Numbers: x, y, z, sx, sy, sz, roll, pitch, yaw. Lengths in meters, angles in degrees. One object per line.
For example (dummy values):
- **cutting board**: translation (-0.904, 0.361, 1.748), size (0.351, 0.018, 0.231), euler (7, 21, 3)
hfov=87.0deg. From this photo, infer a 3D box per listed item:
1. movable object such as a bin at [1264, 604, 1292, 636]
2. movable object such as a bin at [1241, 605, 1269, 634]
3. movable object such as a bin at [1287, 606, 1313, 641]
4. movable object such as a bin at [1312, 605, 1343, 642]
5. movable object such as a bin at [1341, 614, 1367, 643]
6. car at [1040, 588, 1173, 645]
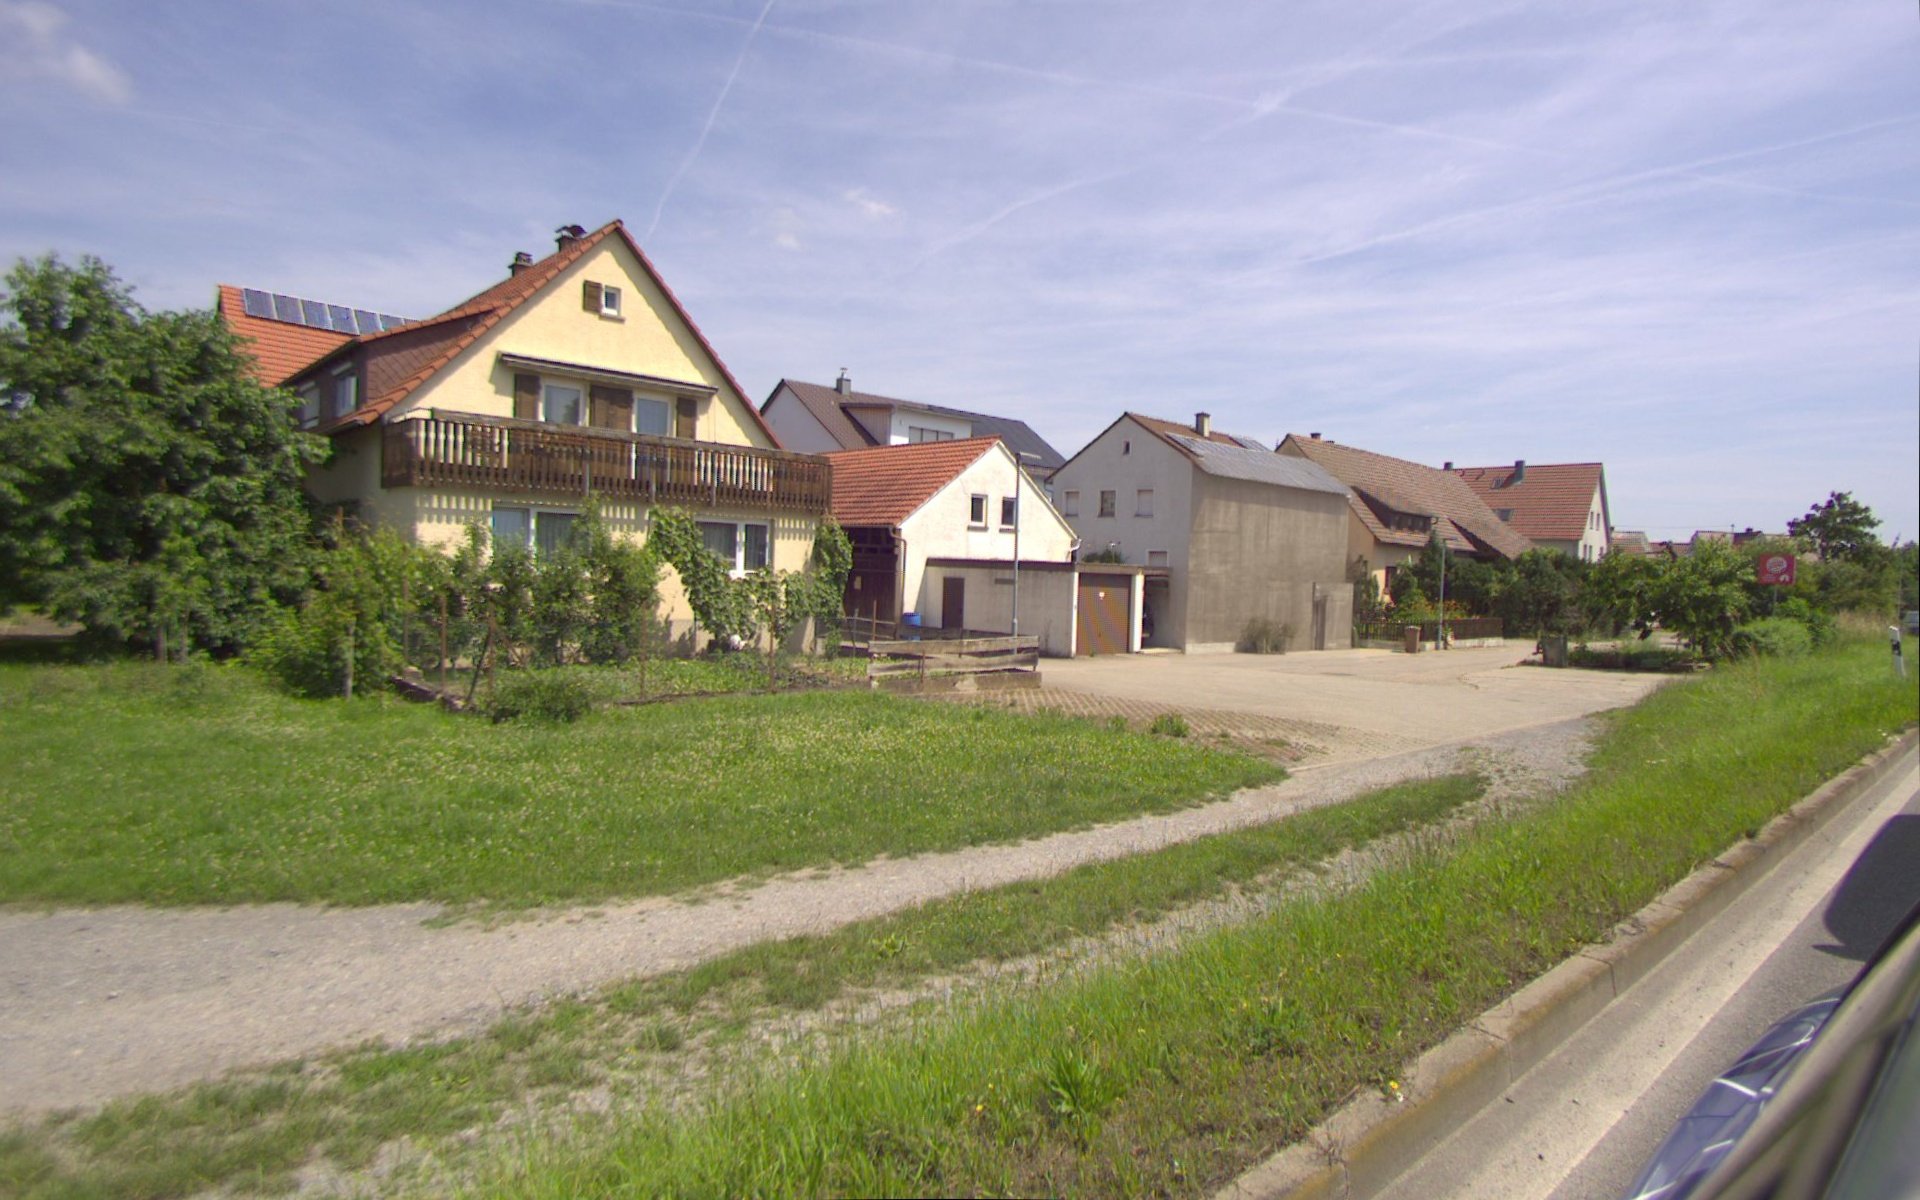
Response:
- **movable object such as a bin**: translation (12.614, 0.781, 40.128), size (0.874, 1.262, 0.744), euler (1, 0, -42)
- **movable object such as a bin**: translation (11.857, 0.773, 40.698), size (0.816, 1.171, 0.739), euler (1, 0, -42)
- **movable object such as a bin**: translation (13.266, 0.911, 39.483), size (0.806, 1.355, 0.677), euler (1, 0, -42)
- **movable object such as a bin**: translation (13.879, 0.875, 38.232), size (0.930, 1.387, 0.764), euler (1, 0, -42)
- **movable object such as a bin**: translation (14.637, 1.066, 37.568), size (0.743, 1.040, 0.645), euler (1, 0, -42)
- **car**: translation (4.587, 0.469, 32.164), size (1.794, 1.624, 3.995), euler (1, 1, -40)
